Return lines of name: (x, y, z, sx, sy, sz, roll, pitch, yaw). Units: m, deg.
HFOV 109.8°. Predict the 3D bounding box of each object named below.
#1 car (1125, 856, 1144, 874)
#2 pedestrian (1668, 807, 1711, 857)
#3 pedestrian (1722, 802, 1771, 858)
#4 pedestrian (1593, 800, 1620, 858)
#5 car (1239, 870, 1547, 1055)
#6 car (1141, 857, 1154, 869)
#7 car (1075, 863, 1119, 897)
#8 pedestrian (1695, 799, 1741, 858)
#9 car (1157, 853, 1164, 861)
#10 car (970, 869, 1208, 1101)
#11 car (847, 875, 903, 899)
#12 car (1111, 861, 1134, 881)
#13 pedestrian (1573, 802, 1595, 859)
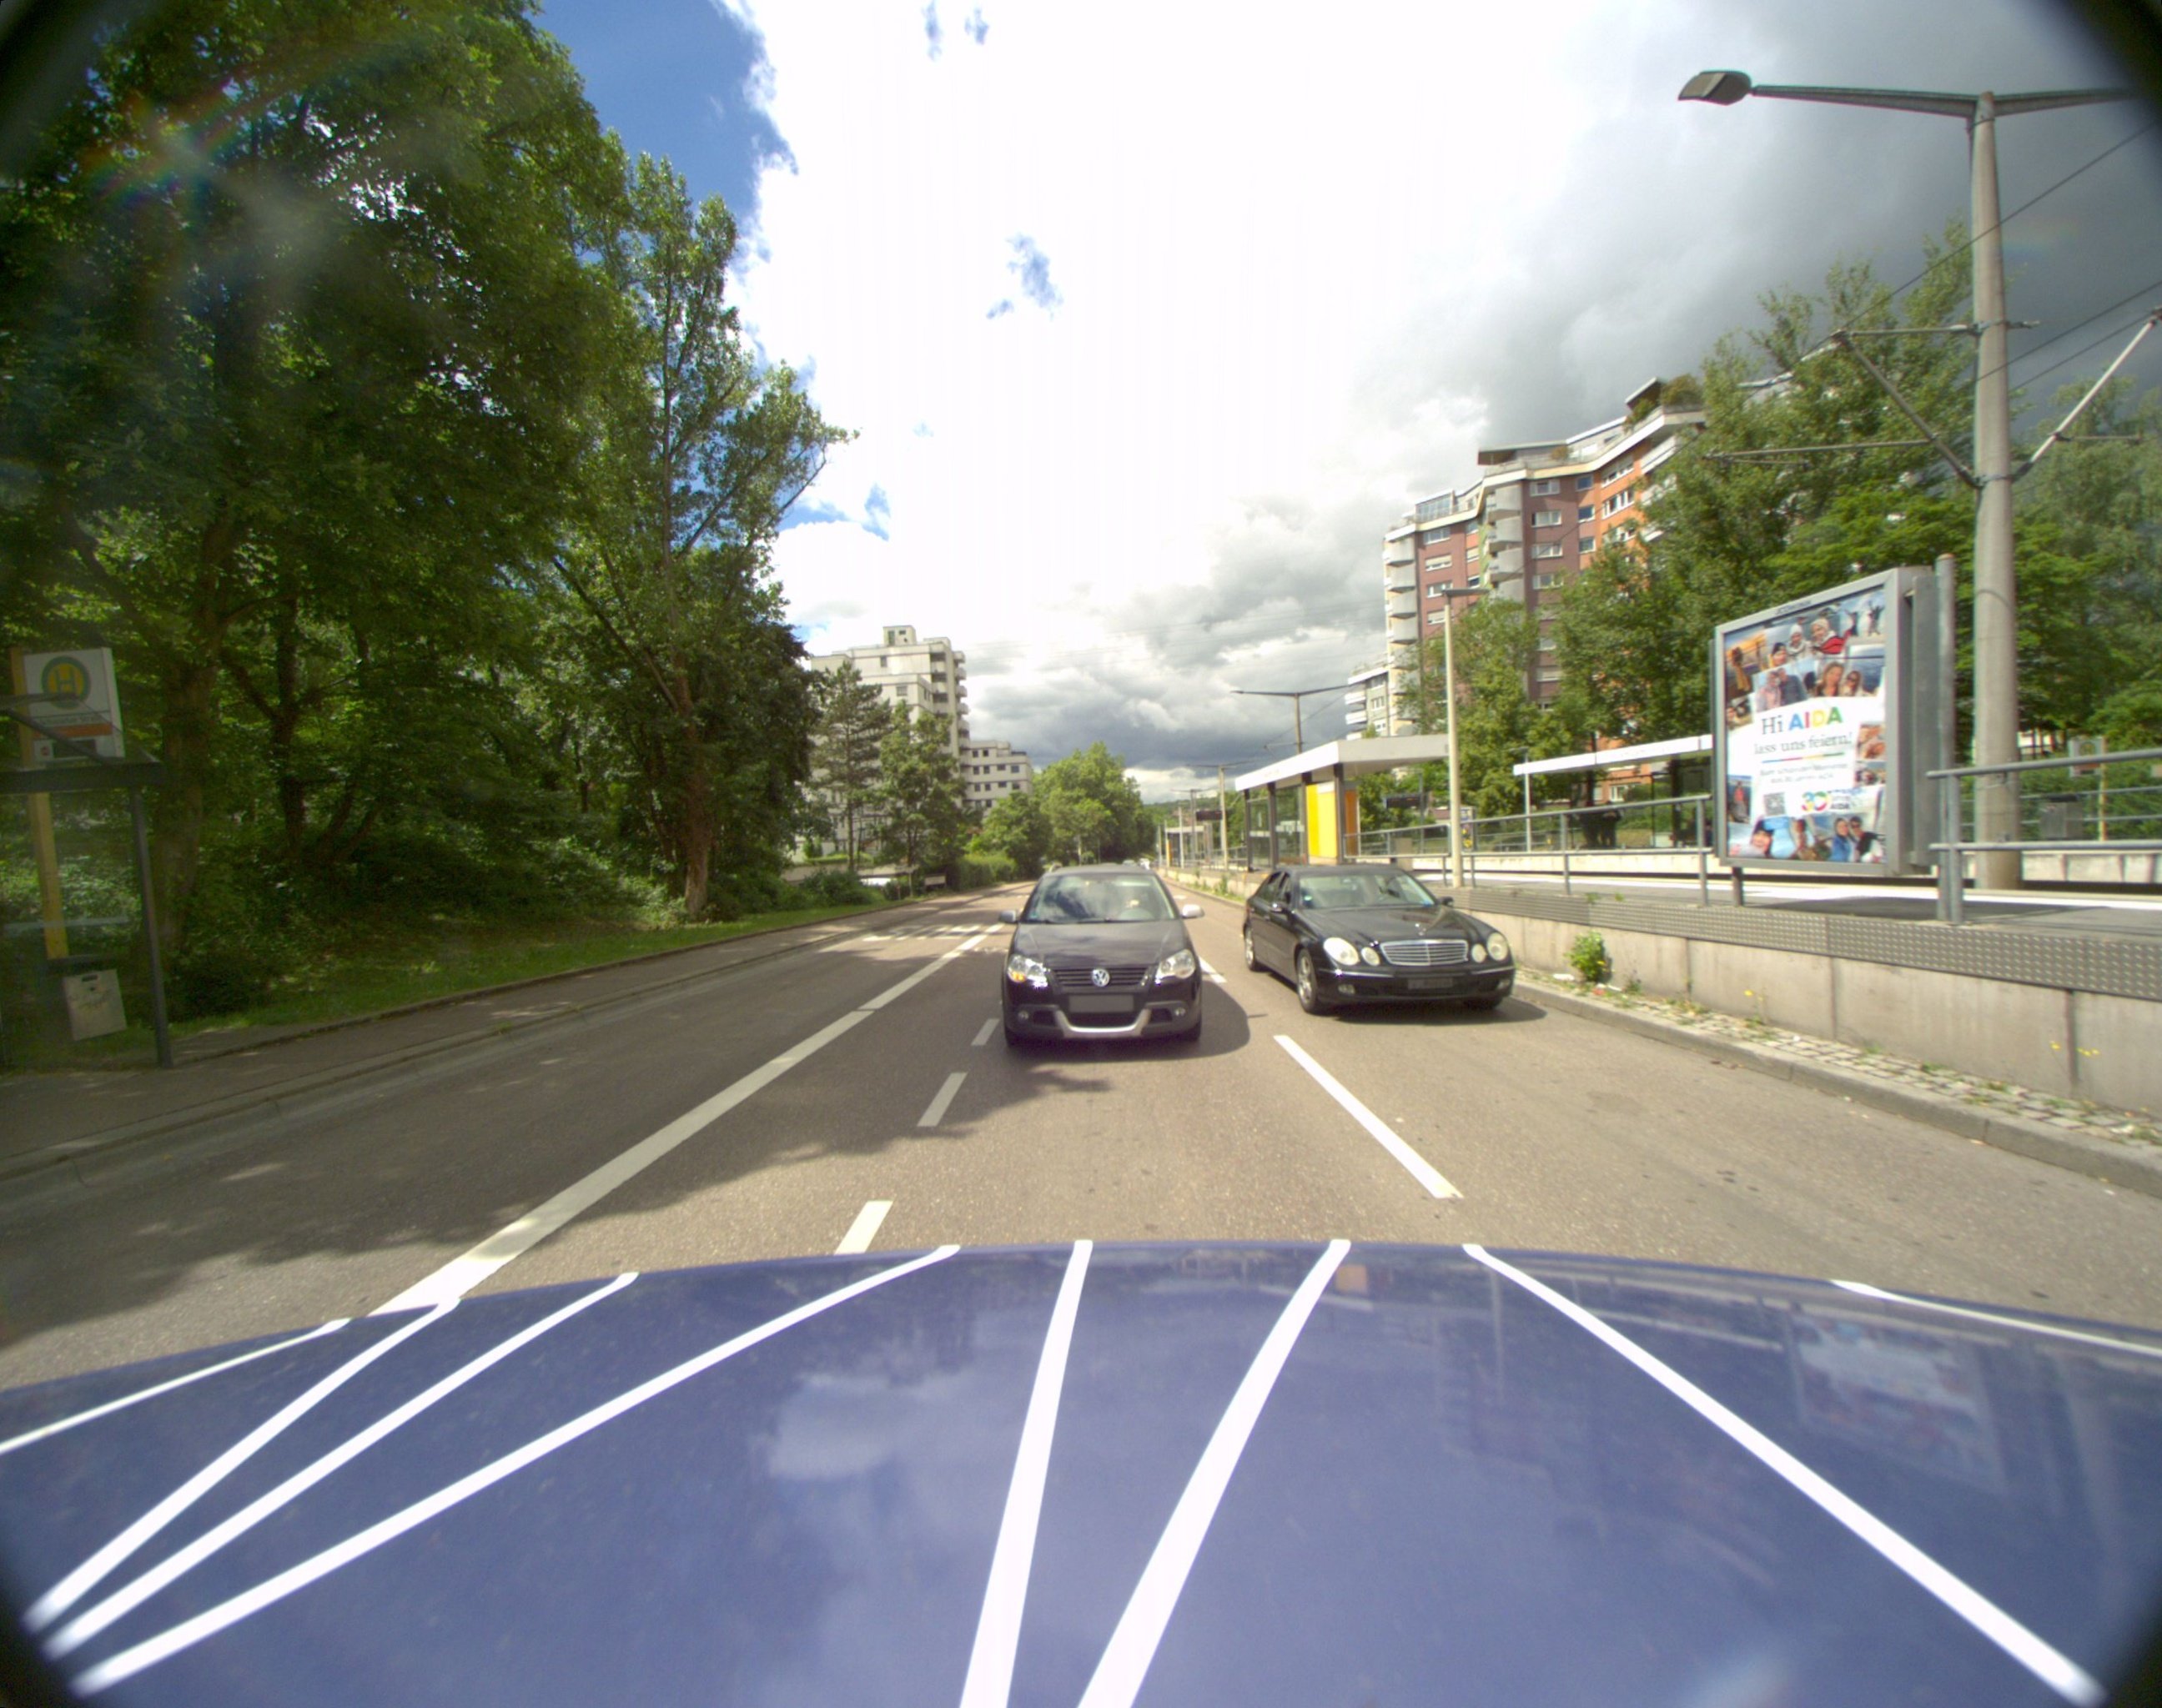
car: (6.539, 1.259, 91.792, 1.997, 2.002, 4.002, -2, 0, 7)
pedestrian: (15.850, -0.558, 19.791, 0.713, 1.270, 0.463, -2, 0, 0)
pedestrian: (15.671, -0.555, 17.896, 0.713, 1.270, 0.463, -2, 0, 0)
pedestrian: (15.700, -0.752, 22.720, 0.387, 1.703, 0.550, -3, 1, -42)
car: (2.984, 0.948, 8.293, 1.821, 1.377, 4.066, -2, 0, 3)
car: (10.111, 1.311, 115.872, 1.801, 1.698, 4.001, -3, 0, 5)
car: (0.784, 1.137, 34.789, 1.821, 1.377, 4.066, -2, 0, 3)
pedestrian: (15.692, -0.624, 18.728, 0.713, 1.409, 0.463, -2, 0, 0)
car: (17.530, 0.568, 167.770, 1.518, 1.674, 4.001, -2, 0, 4)
car: (0.167, 0.984, 7.408, 1.641, 1.521, 4.001, -2, 0, 3)
car: (-19.061, 3.025, 70.388, 4.543, 2.002, 2.001, -2, 0, 7)
car: (3.258, 1.330, 59.398, 1.643, 1.395, 3.709, -2, 0, 5)
pedestrian: (15.248, -0.718, 23.032, 0.354, 1.703, 0.426, -2, 1, -41)
